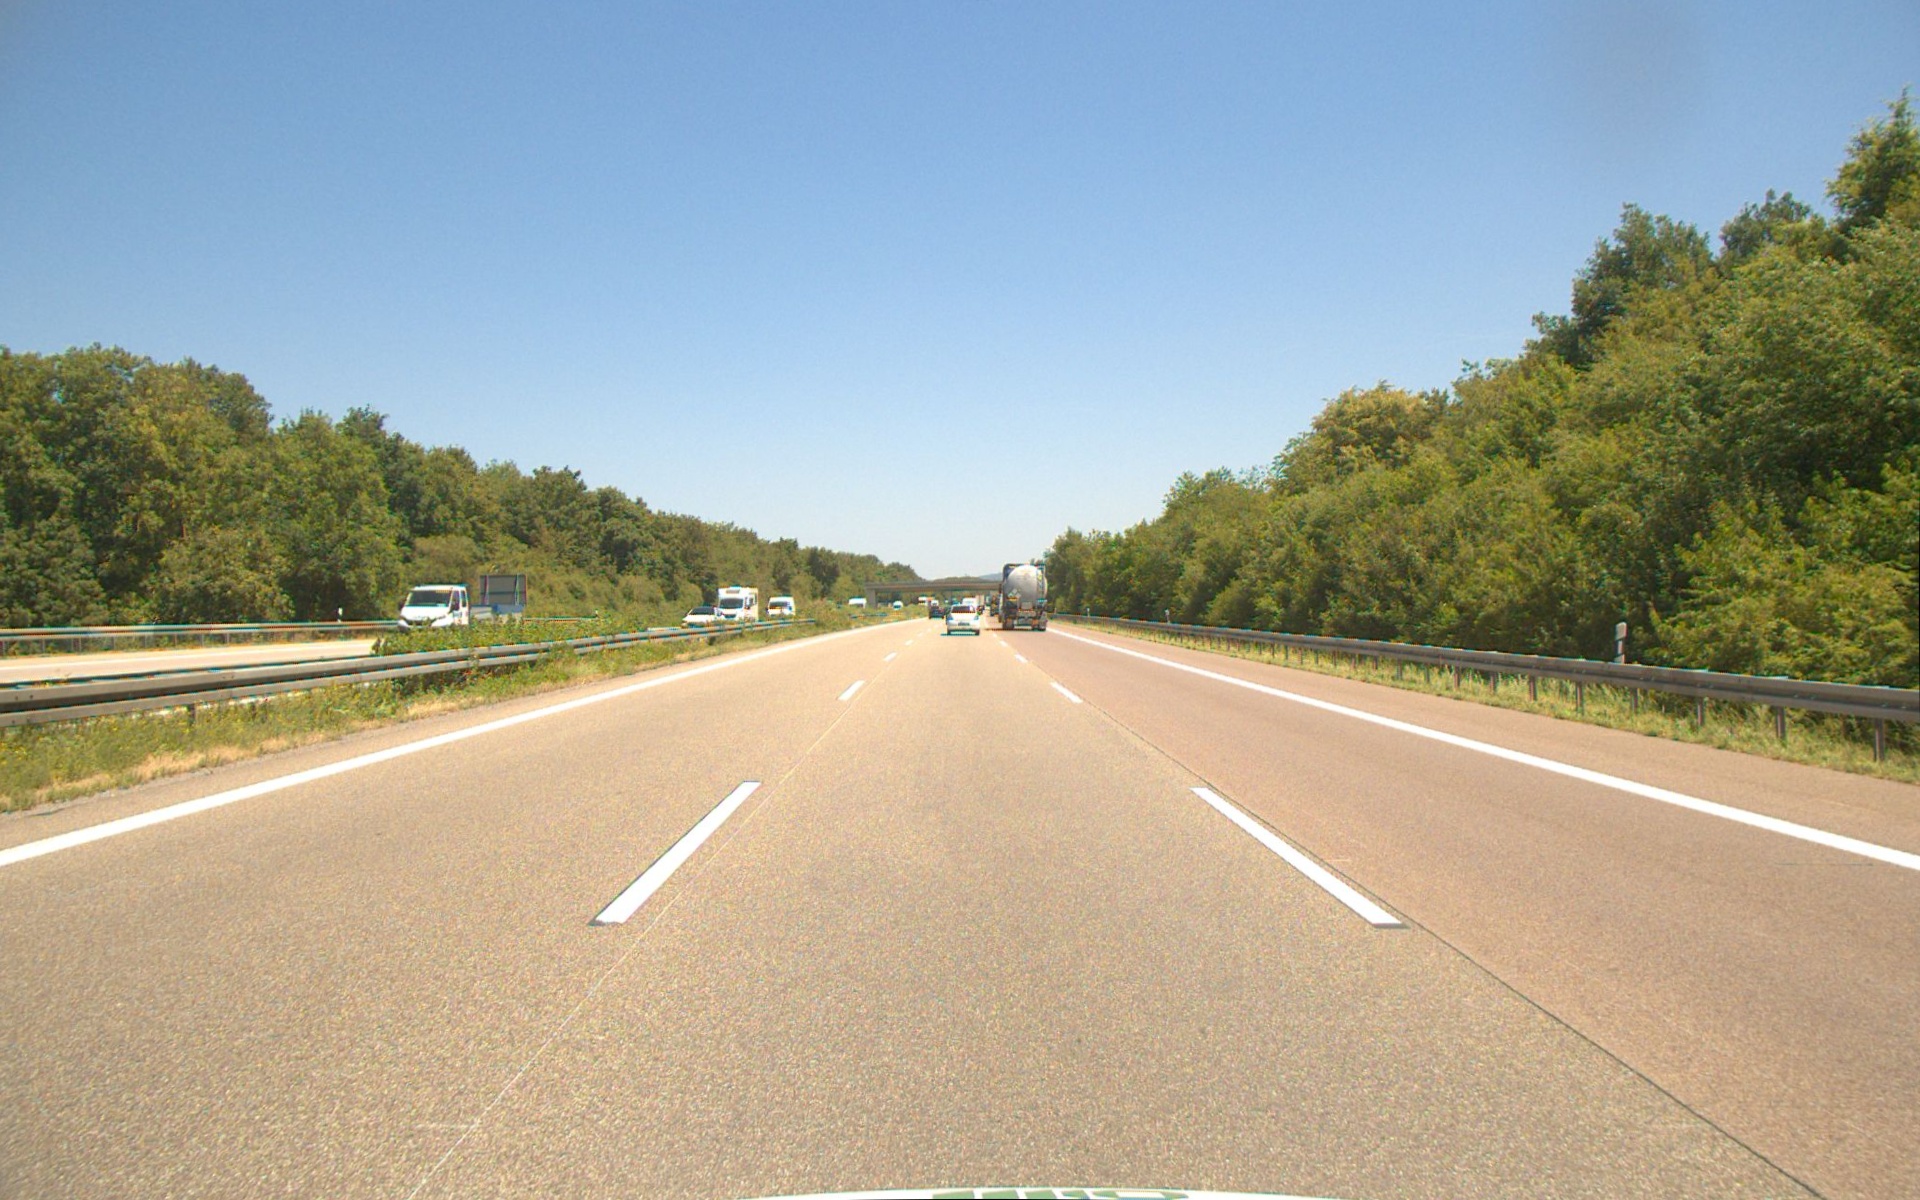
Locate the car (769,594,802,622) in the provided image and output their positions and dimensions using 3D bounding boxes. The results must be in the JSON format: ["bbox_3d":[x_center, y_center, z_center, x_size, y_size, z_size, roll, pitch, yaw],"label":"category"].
[{"bbox_3d":[-16.014,0.695,152.049,2.169,2.484,6.420,-1,0,1],"label":"car"}]

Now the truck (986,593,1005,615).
[{"bbox_3d":[5.533,0.601,258.014,2.855,3.297,6.344,1,-1,0],"label":"truck"}]

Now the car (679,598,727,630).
[{"bbox_3d":[-13.668,0.717,88.171,1.775,1.624,5.009,0,0,0],"label":"car"}]

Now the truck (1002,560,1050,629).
[{"bbox_3d":[4.087,-0.300,103.898,2.683,4.123,10.454,0,0,0],"label":"truck"}]

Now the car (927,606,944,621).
[{"bbox_3d":[-2.962,1.587,198.157,1.952,1.756,4.786,0,0,0],"label":"car"}]

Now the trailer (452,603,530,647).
[{"bbox_3d":[-20.457,1.050,72.354,1.987,1.868,4.989,0,0,0],"label":"trailer"}]

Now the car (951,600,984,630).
[{"bbox_3d":[0.368,0.740,83.438,1.594,1.505,3.999,0,0,-1],"label":"car"}]

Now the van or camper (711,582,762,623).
[{"bbox_3d":[-16.263,0.207,120.970,2.461,2.899,8.027,0,0,1],"label":"van or camper"}]

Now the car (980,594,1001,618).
[{"bbox_3d":[2.844,0.582,155.218,1.952,2.264,4.786,0,0,0],"label":"car"}]

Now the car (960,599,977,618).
[{"bbox_3d":[1.095,1.029,208.052,1.952,2.384,4.388,0,0,2],"label":"car"}]

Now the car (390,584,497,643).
[{"bbox_3d":[-20.409,0.505,65.682,2.198,2.210,6.541,0,0,0],"label":"car"}]
